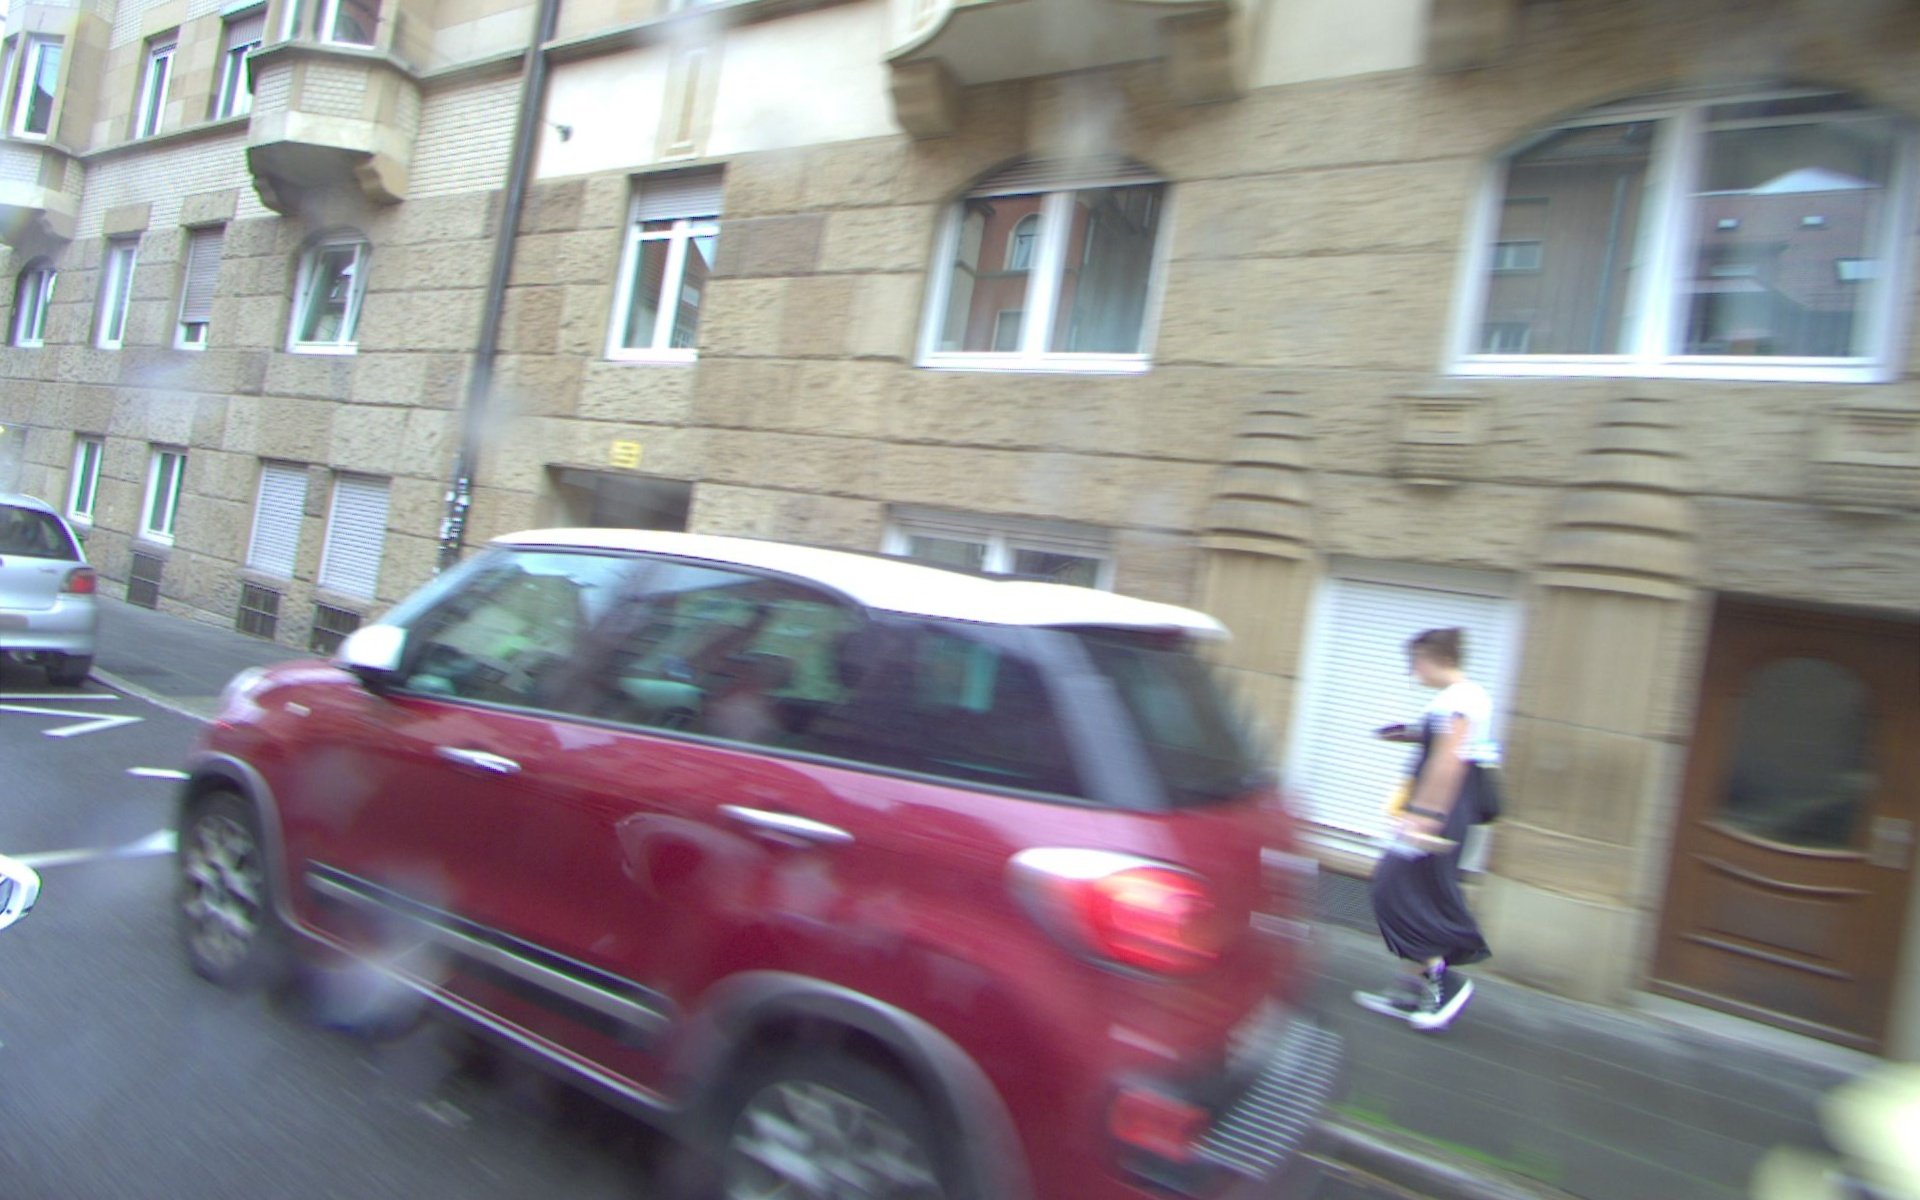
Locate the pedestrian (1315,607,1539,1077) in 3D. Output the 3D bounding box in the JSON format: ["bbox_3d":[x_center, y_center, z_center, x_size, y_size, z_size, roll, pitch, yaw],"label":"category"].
[{"bbox_3d":[2.064,0.979,4.396,0.599,1.753,0.864,7,-1,32],"label":"pedestrian"}]

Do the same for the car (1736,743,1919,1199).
[{"bbox_3d":[3.138,1.205,1.082,3.403,1.495,1.563,7,-2,32],"label":"car"}]

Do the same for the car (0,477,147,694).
[{"bbox_3d":[-8.504,-0.297,8.282,3.408,1.560,1.642,7,-2,32],"label":"car"}]

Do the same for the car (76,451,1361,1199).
[{"bbox_3d":[-0.942,0.593,3.396,3.931,1.647,1.715,7,-2,29],"label":"car"}]
